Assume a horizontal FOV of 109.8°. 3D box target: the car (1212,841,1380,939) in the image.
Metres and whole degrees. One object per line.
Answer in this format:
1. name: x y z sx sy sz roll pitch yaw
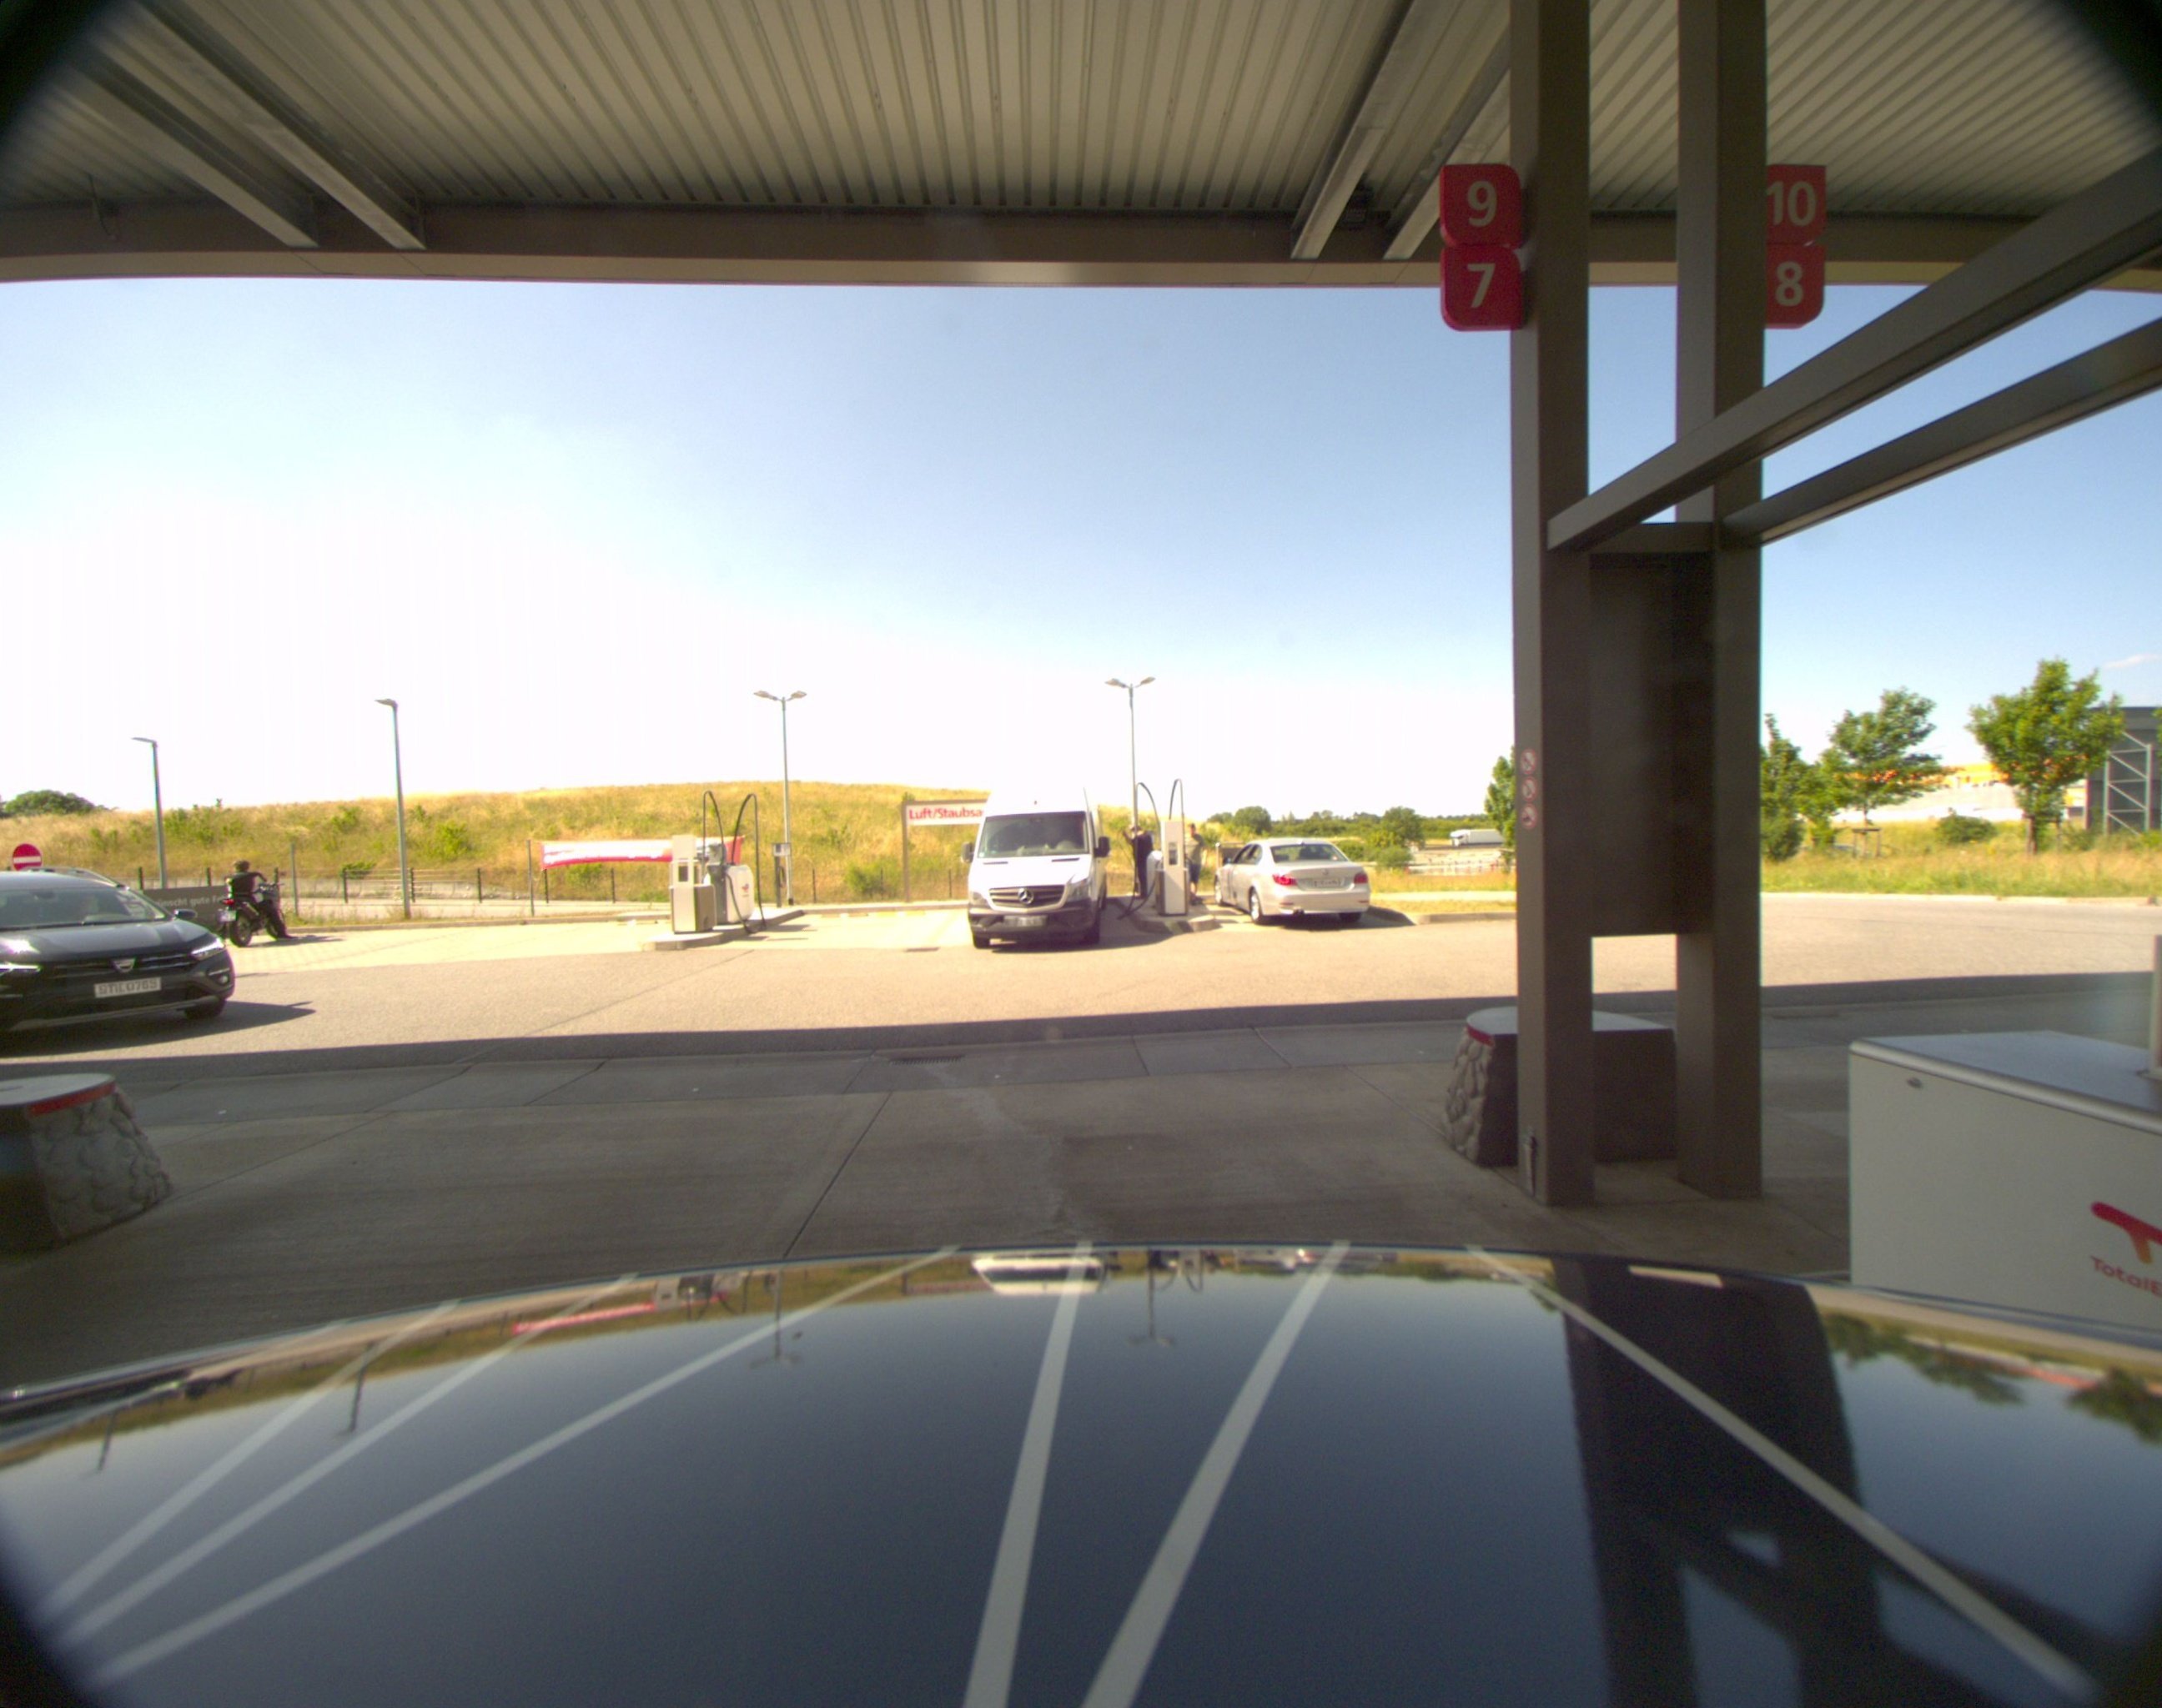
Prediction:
1. car: 3.779 0.530 14.180 1.792 1.420 4.319 -2 2 -2

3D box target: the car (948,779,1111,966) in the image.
1. car: -0.575 0.077 14.045 1.998 2.557 7.029 -1 3 4

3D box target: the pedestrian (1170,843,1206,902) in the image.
1. pedestrian: 2.460 0.420 17.422 0.576 1.299 0.670 -1 2 31

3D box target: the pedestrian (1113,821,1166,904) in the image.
1. pedestrian: 1.261 0.175 16.503 0.842 1.760 0.710 0 2 44

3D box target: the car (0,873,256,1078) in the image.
1. car: -10.942 1.087 7.774 4.621 1.635 1.746 -1 1 21

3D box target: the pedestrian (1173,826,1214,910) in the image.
1. pedestrian: 2.413 0.297 16.331 0.709 1.739 0.845 -2 1 0

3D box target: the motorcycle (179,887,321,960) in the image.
1. motorcycle: -16.087 1.297 14.826 1.047 1.100 2.410 -2 2 -27

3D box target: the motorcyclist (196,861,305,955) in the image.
1. motorcyclist: -16.055 1.008 14.737 1.036 1.678 1.096 -2 2 -27
